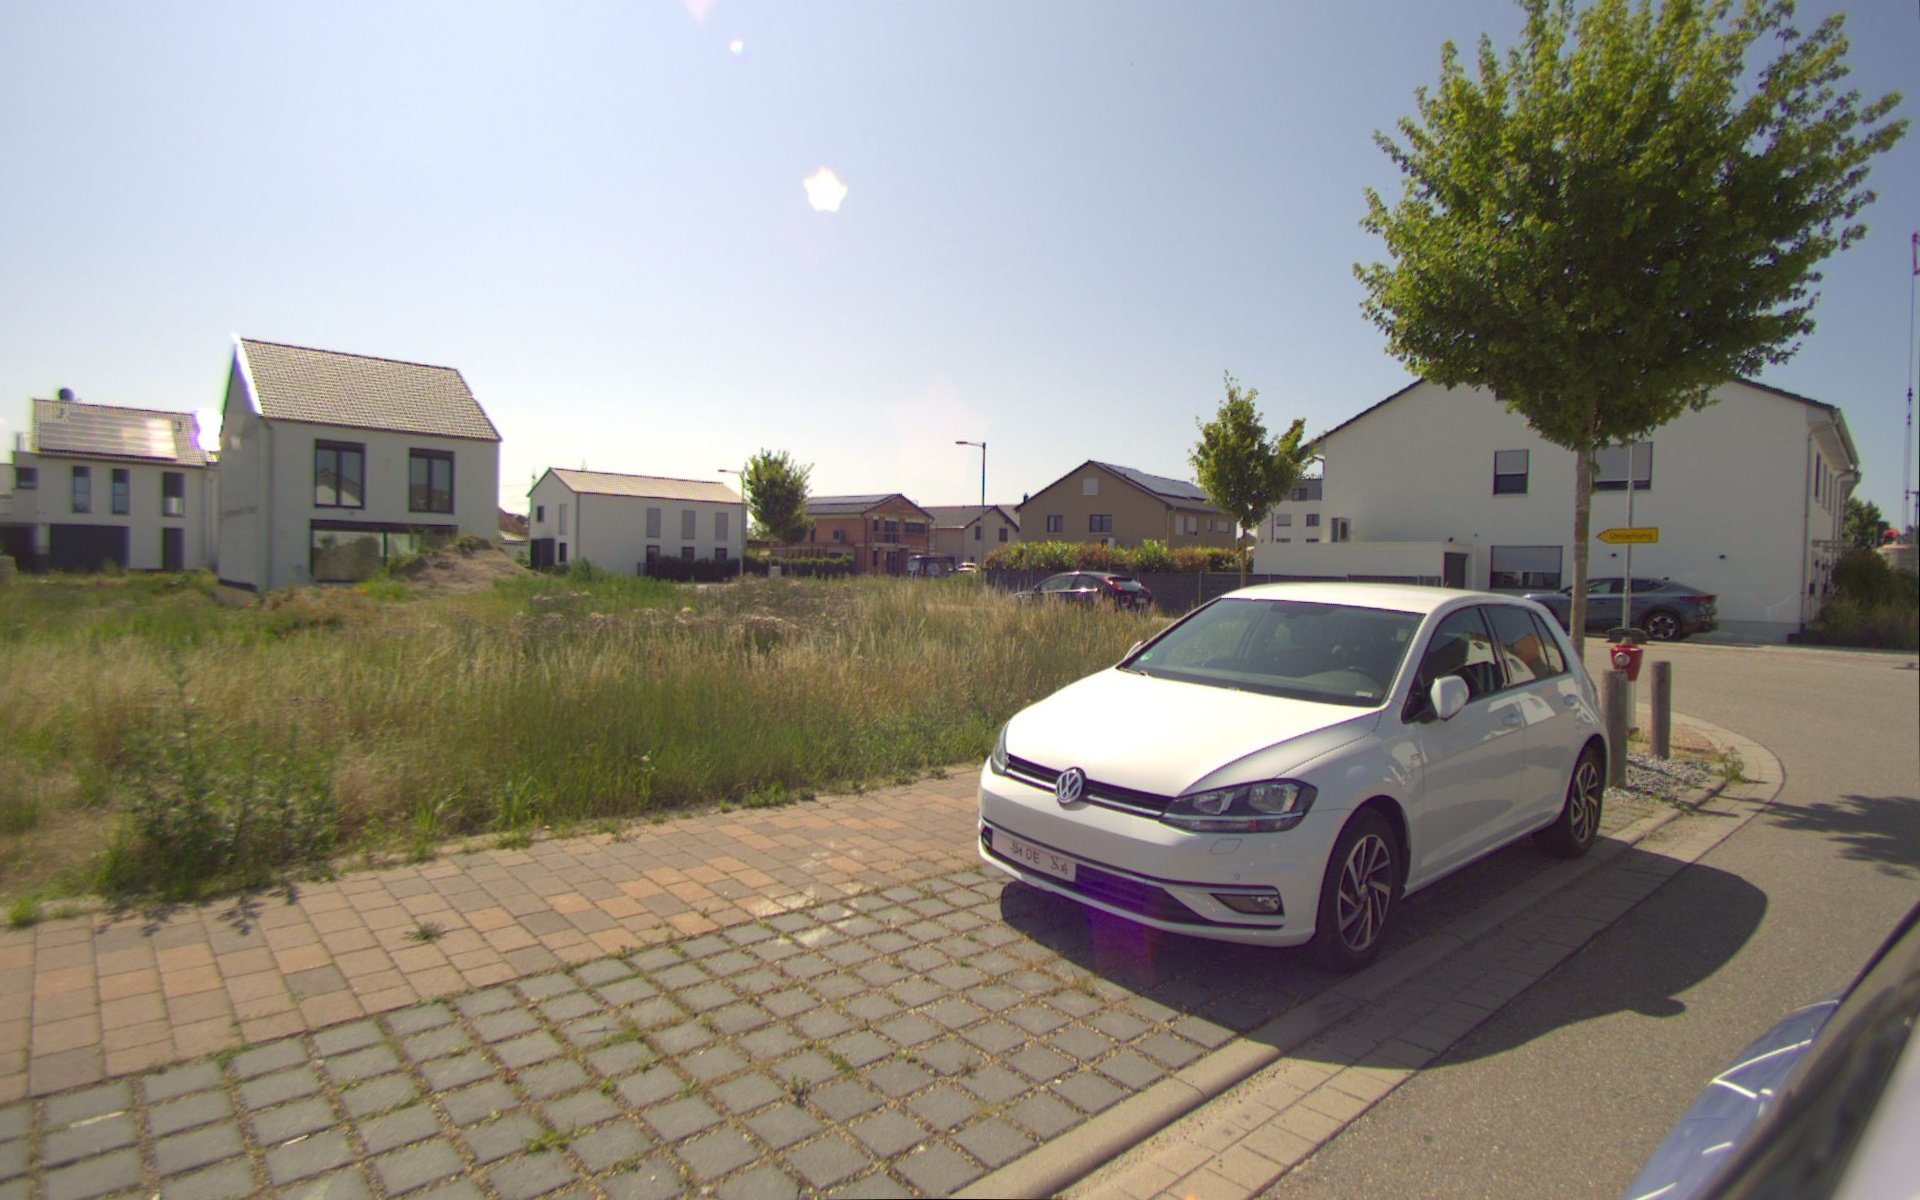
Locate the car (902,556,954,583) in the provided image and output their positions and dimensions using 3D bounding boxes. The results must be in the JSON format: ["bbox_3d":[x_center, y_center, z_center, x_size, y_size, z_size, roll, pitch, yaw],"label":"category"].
[{"bbox_3d":[-2.459,-2.355,78.778,1.990,2.038,3.945,3,2,38],"label":"car"}]

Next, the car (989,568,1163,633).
[{"bbox_3d":[2.931,-0.046,26.040,4.177,1.512,1.822,2,3,42],"label":"car"}]

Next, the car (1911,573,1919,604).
[{"bbox_3d":[53.237,-0.631,55.032,1.794,1.637,3.628,2,3,37],"label":"car"}]

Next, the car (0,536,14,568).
[{"bbox_3d":[-48.509,-2.414,50.351,1.782,1.530,3.998,0,2,-38],"label":"car"}]

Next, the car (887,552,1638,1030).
[{"bbox_3d":[1.807,0.569,5.187,4.094,1.437,1.779,0,4,-42],"label":"car"}]

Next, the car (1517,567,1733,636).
[{"bbox_3d":[17.155,-0.017,26.255,1.928,1.577,4.341,0,2,-44],"label":"car"}]
